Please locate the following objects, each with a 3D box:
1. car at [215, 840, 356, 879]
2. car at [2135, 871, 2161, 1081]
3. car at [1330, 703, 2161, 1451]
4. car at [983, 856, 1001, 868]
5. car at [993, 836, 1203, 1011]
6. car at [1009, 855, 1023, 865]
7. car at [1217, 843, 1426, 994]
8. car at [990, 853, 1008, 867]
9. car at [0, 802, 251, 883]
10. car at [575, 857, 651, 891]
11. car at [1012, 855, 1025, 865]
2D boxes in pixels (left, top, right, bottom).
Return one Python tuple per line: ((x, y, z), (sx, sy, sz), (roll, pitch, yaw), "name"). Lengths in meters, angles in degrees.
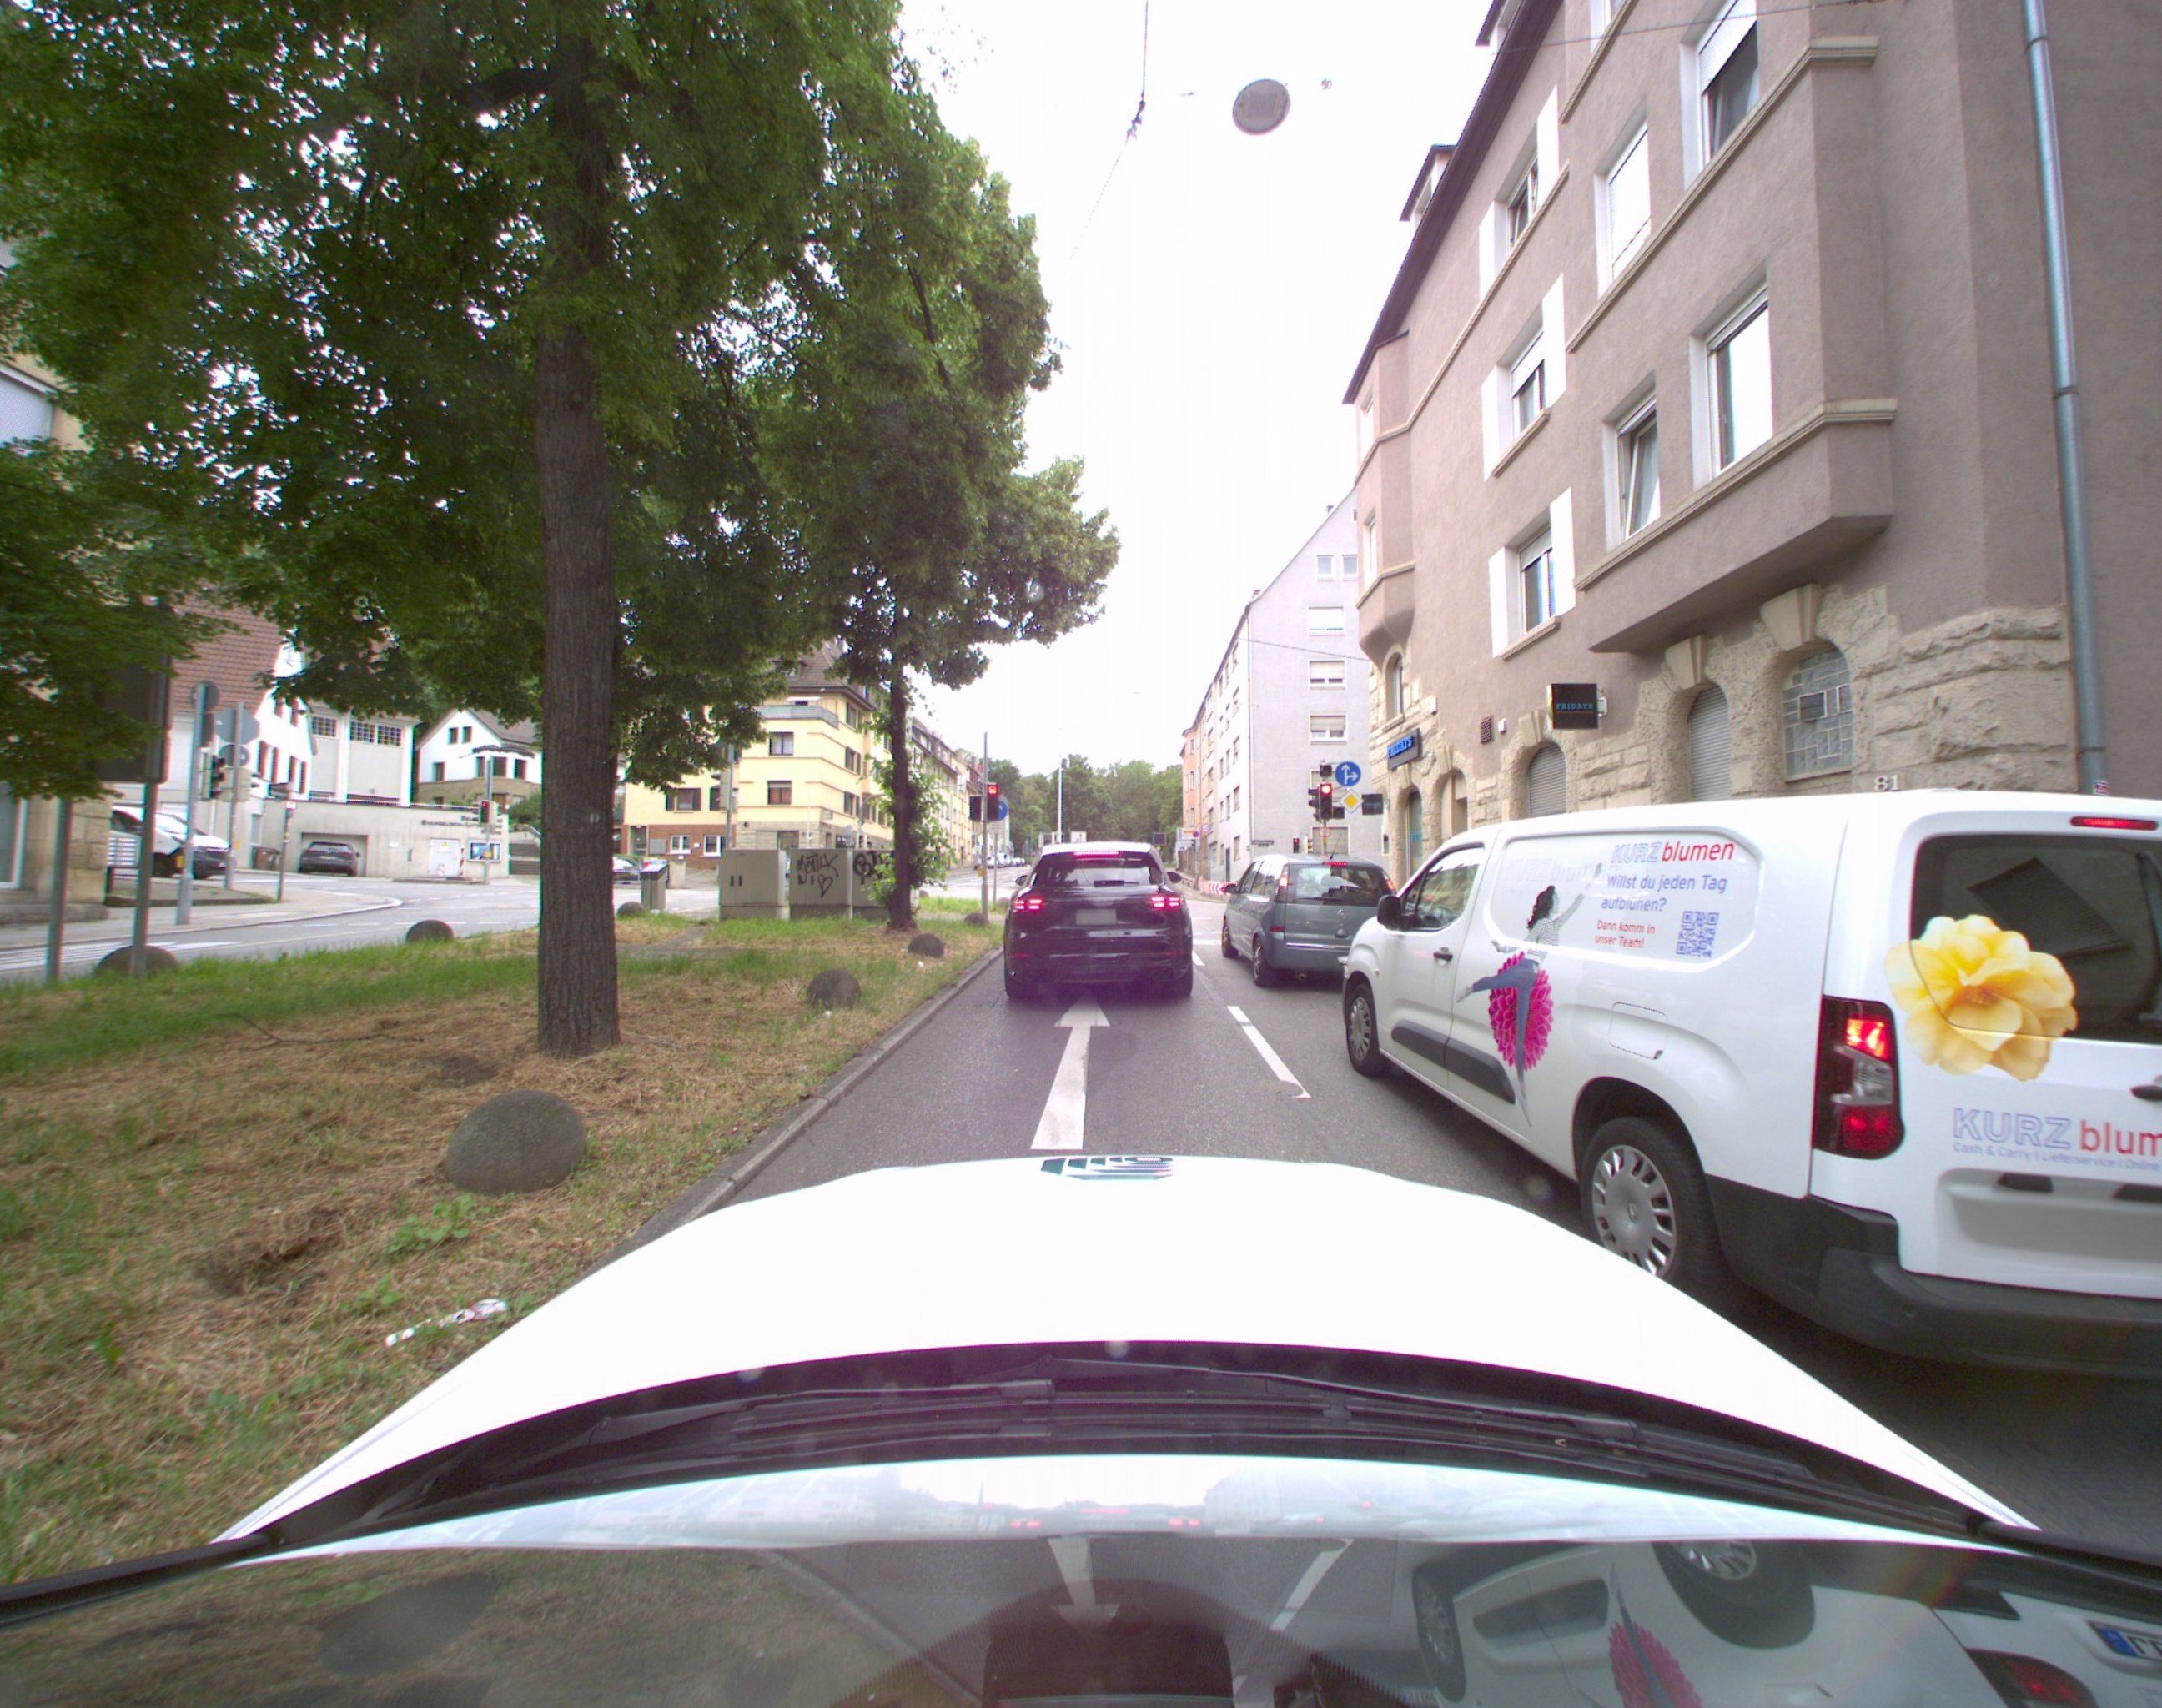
((-32.545, 0.215, 33.486), (4.021, 1.510, 1.779), (1, 0, -41), "car")
((9.206, 0.862, 4.627), (3.971, 1.403, 1.802), (0, 2, 2), "car")
((2.810, 0.603, 4.512), (1.840, 1.825, 5.029), (1, -2, 6), "car")
((-11.125, 0.969, 101.871), (1.788, 1.510, 4.001), (0, 0, 1), "car")
((0.278, 0.657, 9.801), (1.986, 1.653, 4.004), (-1, 0, 3), "car")
((-10.149, 0.936, 128.276), (1.788, 1.510, 4.001), (0, 0, 1), "car")
((2.975, 0.725, 10.861), (1.746, 1.593, 3.631), (3, 0, 1), "car")
((-10.732, 0.798, 106.892), (1.788, 1.810, 4.001), (0, 0, 1), "car")
((-27.313, -0.296, 22.841), (5.186, 2.064, 1.982), (2, -1, -21), "car")
((-24.002, 1.016, 41.759), (3.948, 1.665, 1.894), (-1, -2, 36), "car")
((-10.217, 0.936, 133.178), (1.788, 1.510, 4.001), (0, 0, 1), "car")
